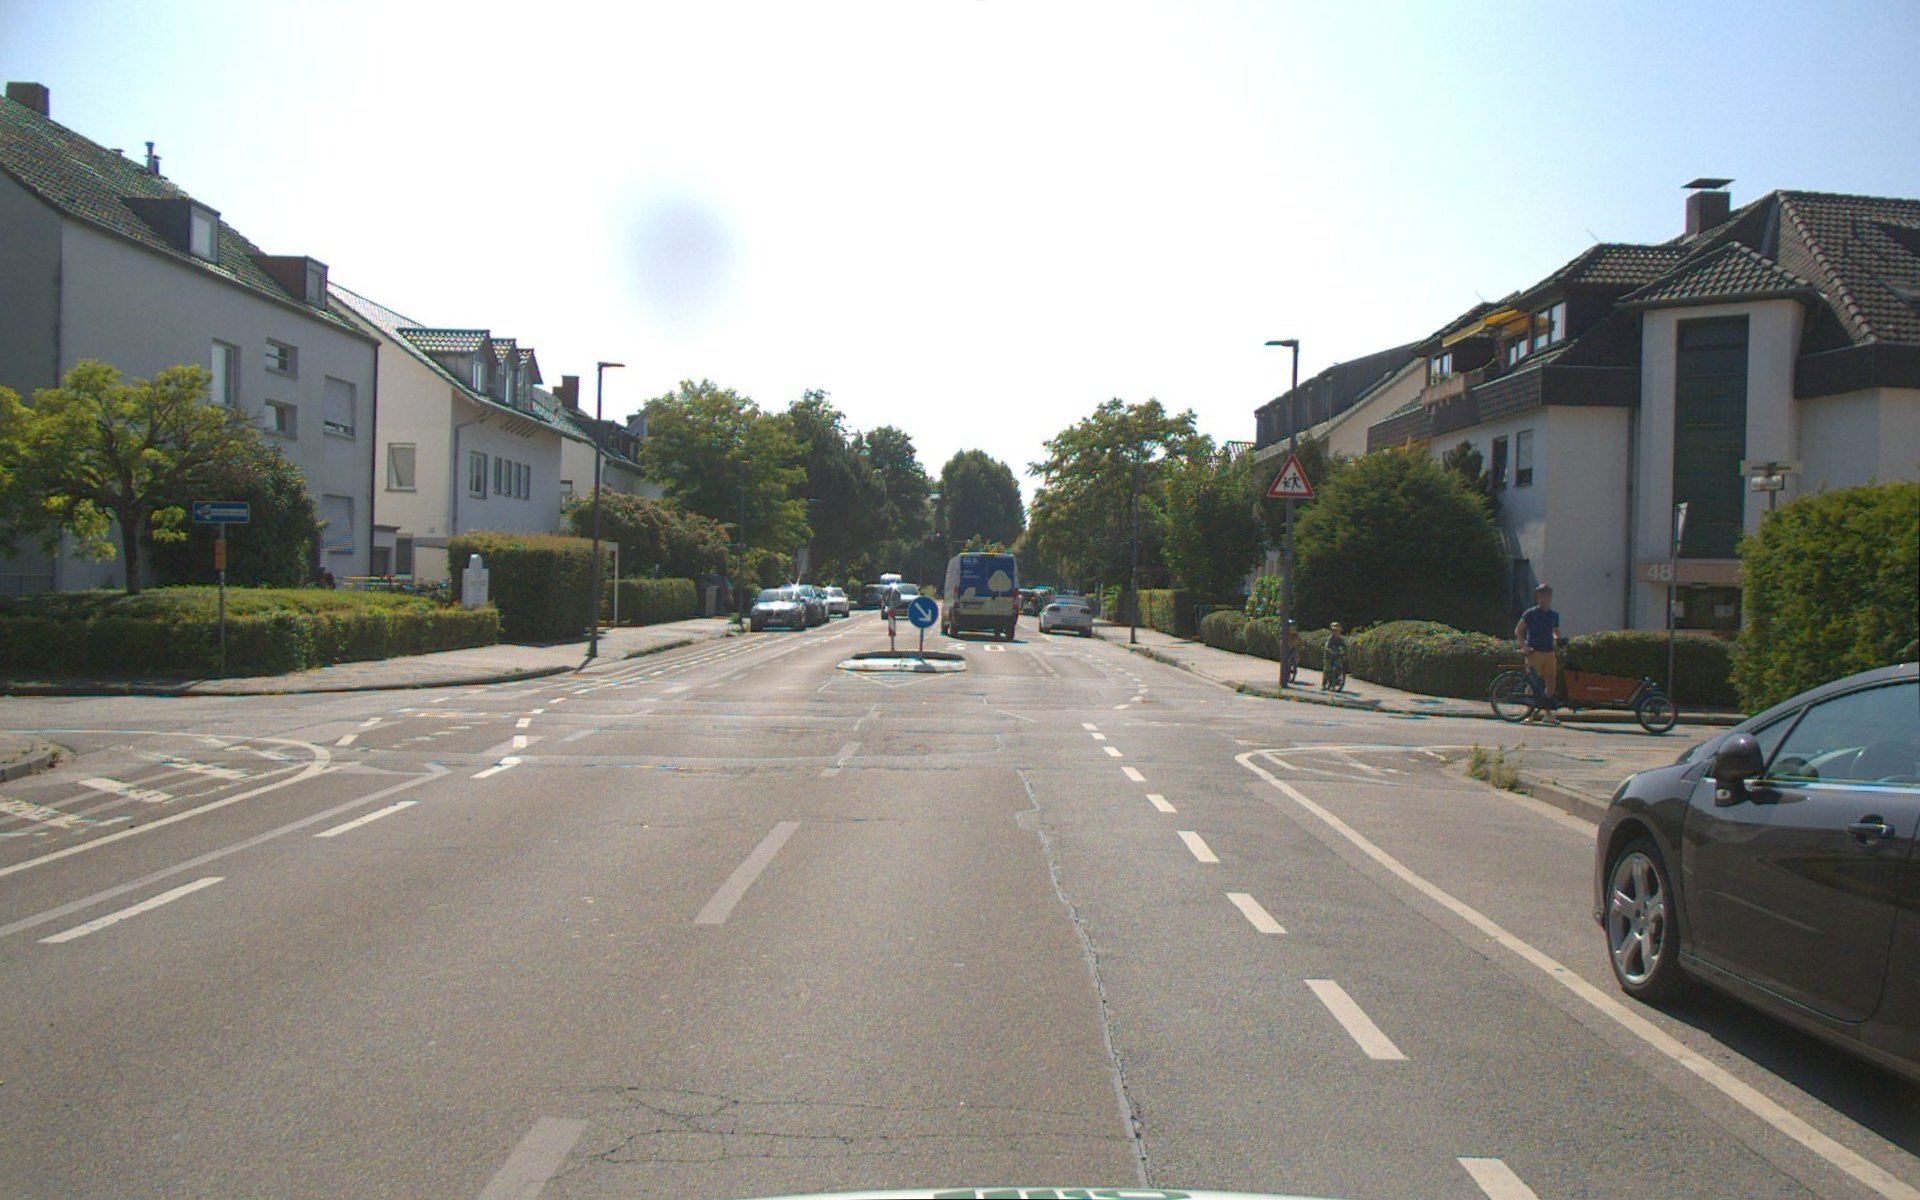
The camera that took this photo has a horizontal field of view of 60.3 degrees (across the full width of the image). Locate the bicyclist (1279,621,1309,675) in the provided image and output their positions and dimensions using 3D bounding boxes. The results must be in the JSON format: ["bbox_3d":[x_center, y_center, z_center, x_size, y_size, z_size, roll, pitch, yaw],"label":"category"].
[{"bbox_3d":[6.057,0.869,30.004,0.390,0.949,0.608,1,0,-3],"label":"bicyclist"}]

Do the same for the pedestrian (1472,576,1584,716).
[{"bbox_3d":[7.944,0.621,23.153,0.890,1.905,1.176,1,0,-33],"label":"pedestrian"}]

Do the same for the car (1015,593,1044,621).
[{"bbox_3d":[4.518,0.456,108.340,1.748,1.666,4.472,2,1,1],"label":"car"}]

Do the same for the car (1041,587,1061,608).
[{"bbox_3d":[7.858,-0.214,142.574,1.665,1.706,3.776,1,0,3],"label":"car"}]

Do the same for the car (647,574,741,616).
[{"bbox_3d":[-12.107,-0.246,75.504,3.905,1.790,2.000,2,1,0],"label":"car"}]

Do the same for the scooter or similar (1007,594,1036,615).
[{"bbox_3d":[3.939,0.254,105.396,0.715,1.173,1.768,5,0,-45],"label":"scooter or similar"}]

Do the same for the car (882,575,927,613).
[{"bbox_3d":[-2.546,-0.269,76.923,1.875,1.695,4.506,0,0,1],"label":"car"}]

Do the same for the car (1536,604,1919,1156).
[{"bbox_3d":[3.485,0.829,5.073,1.702,1.494,4.343,4,0,-2],"label":"car"}]

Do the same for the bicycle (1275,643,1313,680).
[{"bbox_3d":[6.061,1.119,30.056,0.393,0.610,1.151,1,0,-2],"label":"bicycle"}]

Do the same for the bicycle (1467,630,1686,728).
[{"bbox_3d":[8.323,1.038,22.398,2.654,1.178,0.861,2,0,33],"label":"bicycle"}]

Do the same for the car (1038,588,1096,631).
[{"bbox_3d":[3.856,0.322,60.110,1.705,1.426,4.073,2,1,-1],"label":"car"}]

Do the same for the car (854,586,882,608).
[{"bbox_3d":[-6.345,-0.211,113.875,1.744,1.485,4.085,1,0,-1],"label":"car"}]

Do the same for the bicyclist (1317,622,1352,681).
[{"bbox_3d":[6.249,0.849,27.585,0.393,0.946,0.657,1,0,-3],"label":"bicyclist"}]

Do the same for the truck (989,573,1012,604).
[{"bbox_3d":[3.952,-1.098,161.468,2.168,2.998,5.686,1,0,1],"label":"truck"}]

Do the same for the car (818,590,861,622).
[{"bbox_3d":[-5.791,0.255,79.888,1.749,1.465,4.000,1,0,0],"label":"car"}]

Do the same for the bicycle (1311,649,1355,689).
[{"bbox_3d":[6.221,1.145,27.609,0.393,0.610,1.173,1,0,-3],"label":"bicycle"}]

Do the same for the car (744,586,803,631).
[{"bbox_3d":[-6.342,0.265,56.652,1.749,1.465,4.152,0,1,-3],"label":"car"}]

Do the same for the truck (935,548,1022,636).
[{"bbox_3d":[0.520,-0.248,52.030,2.228,2.616,4.386,1,0,-6],"label":"truck"}]
